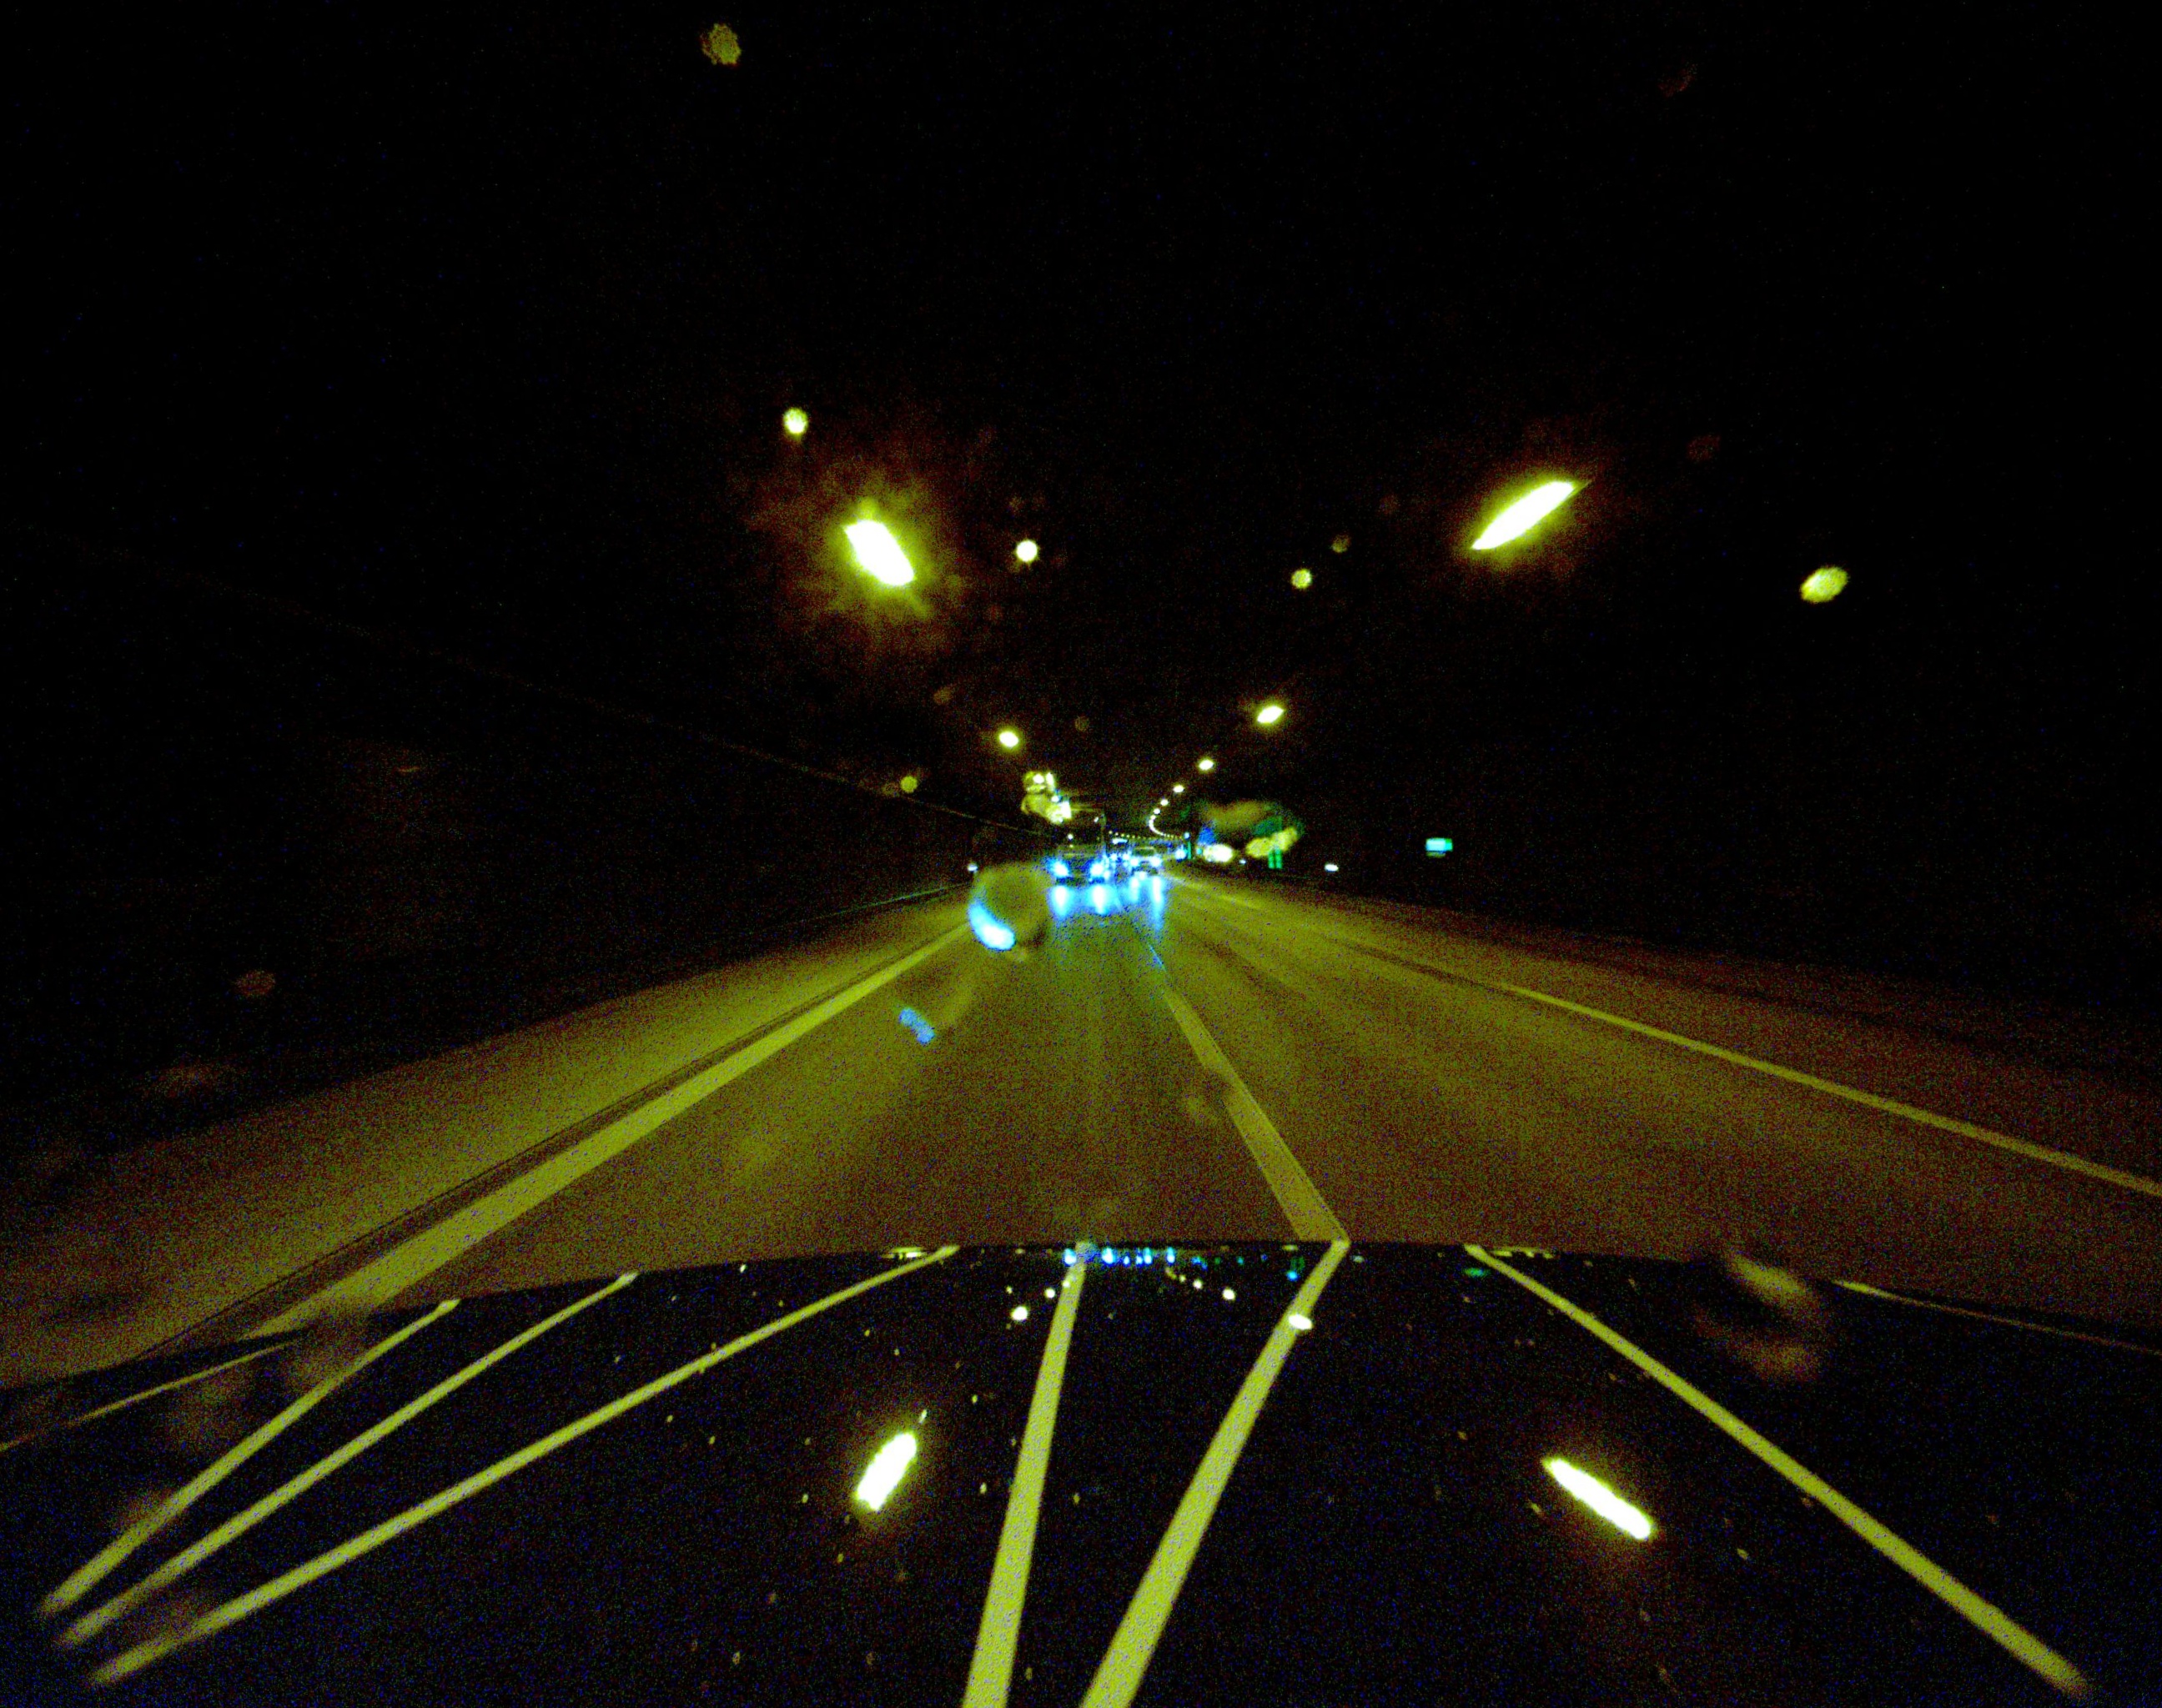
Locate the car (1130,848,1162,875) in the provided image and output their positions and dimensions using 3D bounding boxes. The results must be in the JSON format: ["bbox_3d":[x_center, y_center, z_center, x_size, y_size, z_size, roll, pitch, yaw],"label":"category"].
[{"bbox_3d":[4.683,0.515,55.330,1.998,1.890,4.000,0,0,1],"label":"car"}]

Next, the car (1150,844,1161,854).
[{"bbox_3d":[13.664,-0.878,139.263,1.997,1.788,4.002,-1,1,8],"label":"car"}]

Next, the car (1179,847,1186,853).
[{"bbox_3d":[30.164,-1.289,225.524,1.997,1.788,4.003,-1,1,11],"label":"car"}]

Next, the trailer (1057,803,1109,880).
[{"bbox_3d":[0.386,-0.720,48.920,2.626,4.139,14.003,-1,0,3],"label":"trailer"}]

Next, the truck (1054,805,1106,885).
[{"bbox_3d":[0.052,-0.494,42.824,2.652,4.139,6.005,-1,1,2],"label":"truck"}]

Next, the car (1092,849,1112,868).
[{"bbox_3d":[2.088,0.424,74.966,1.839,1.849,4.288,-1,0,1],"label":"car"}]

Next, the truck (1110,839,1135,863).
[{"bbox_3d":[6.907,-0.519,124.173,2.898,3.819,9.003,-1,1,11],"label":"truck"}]
